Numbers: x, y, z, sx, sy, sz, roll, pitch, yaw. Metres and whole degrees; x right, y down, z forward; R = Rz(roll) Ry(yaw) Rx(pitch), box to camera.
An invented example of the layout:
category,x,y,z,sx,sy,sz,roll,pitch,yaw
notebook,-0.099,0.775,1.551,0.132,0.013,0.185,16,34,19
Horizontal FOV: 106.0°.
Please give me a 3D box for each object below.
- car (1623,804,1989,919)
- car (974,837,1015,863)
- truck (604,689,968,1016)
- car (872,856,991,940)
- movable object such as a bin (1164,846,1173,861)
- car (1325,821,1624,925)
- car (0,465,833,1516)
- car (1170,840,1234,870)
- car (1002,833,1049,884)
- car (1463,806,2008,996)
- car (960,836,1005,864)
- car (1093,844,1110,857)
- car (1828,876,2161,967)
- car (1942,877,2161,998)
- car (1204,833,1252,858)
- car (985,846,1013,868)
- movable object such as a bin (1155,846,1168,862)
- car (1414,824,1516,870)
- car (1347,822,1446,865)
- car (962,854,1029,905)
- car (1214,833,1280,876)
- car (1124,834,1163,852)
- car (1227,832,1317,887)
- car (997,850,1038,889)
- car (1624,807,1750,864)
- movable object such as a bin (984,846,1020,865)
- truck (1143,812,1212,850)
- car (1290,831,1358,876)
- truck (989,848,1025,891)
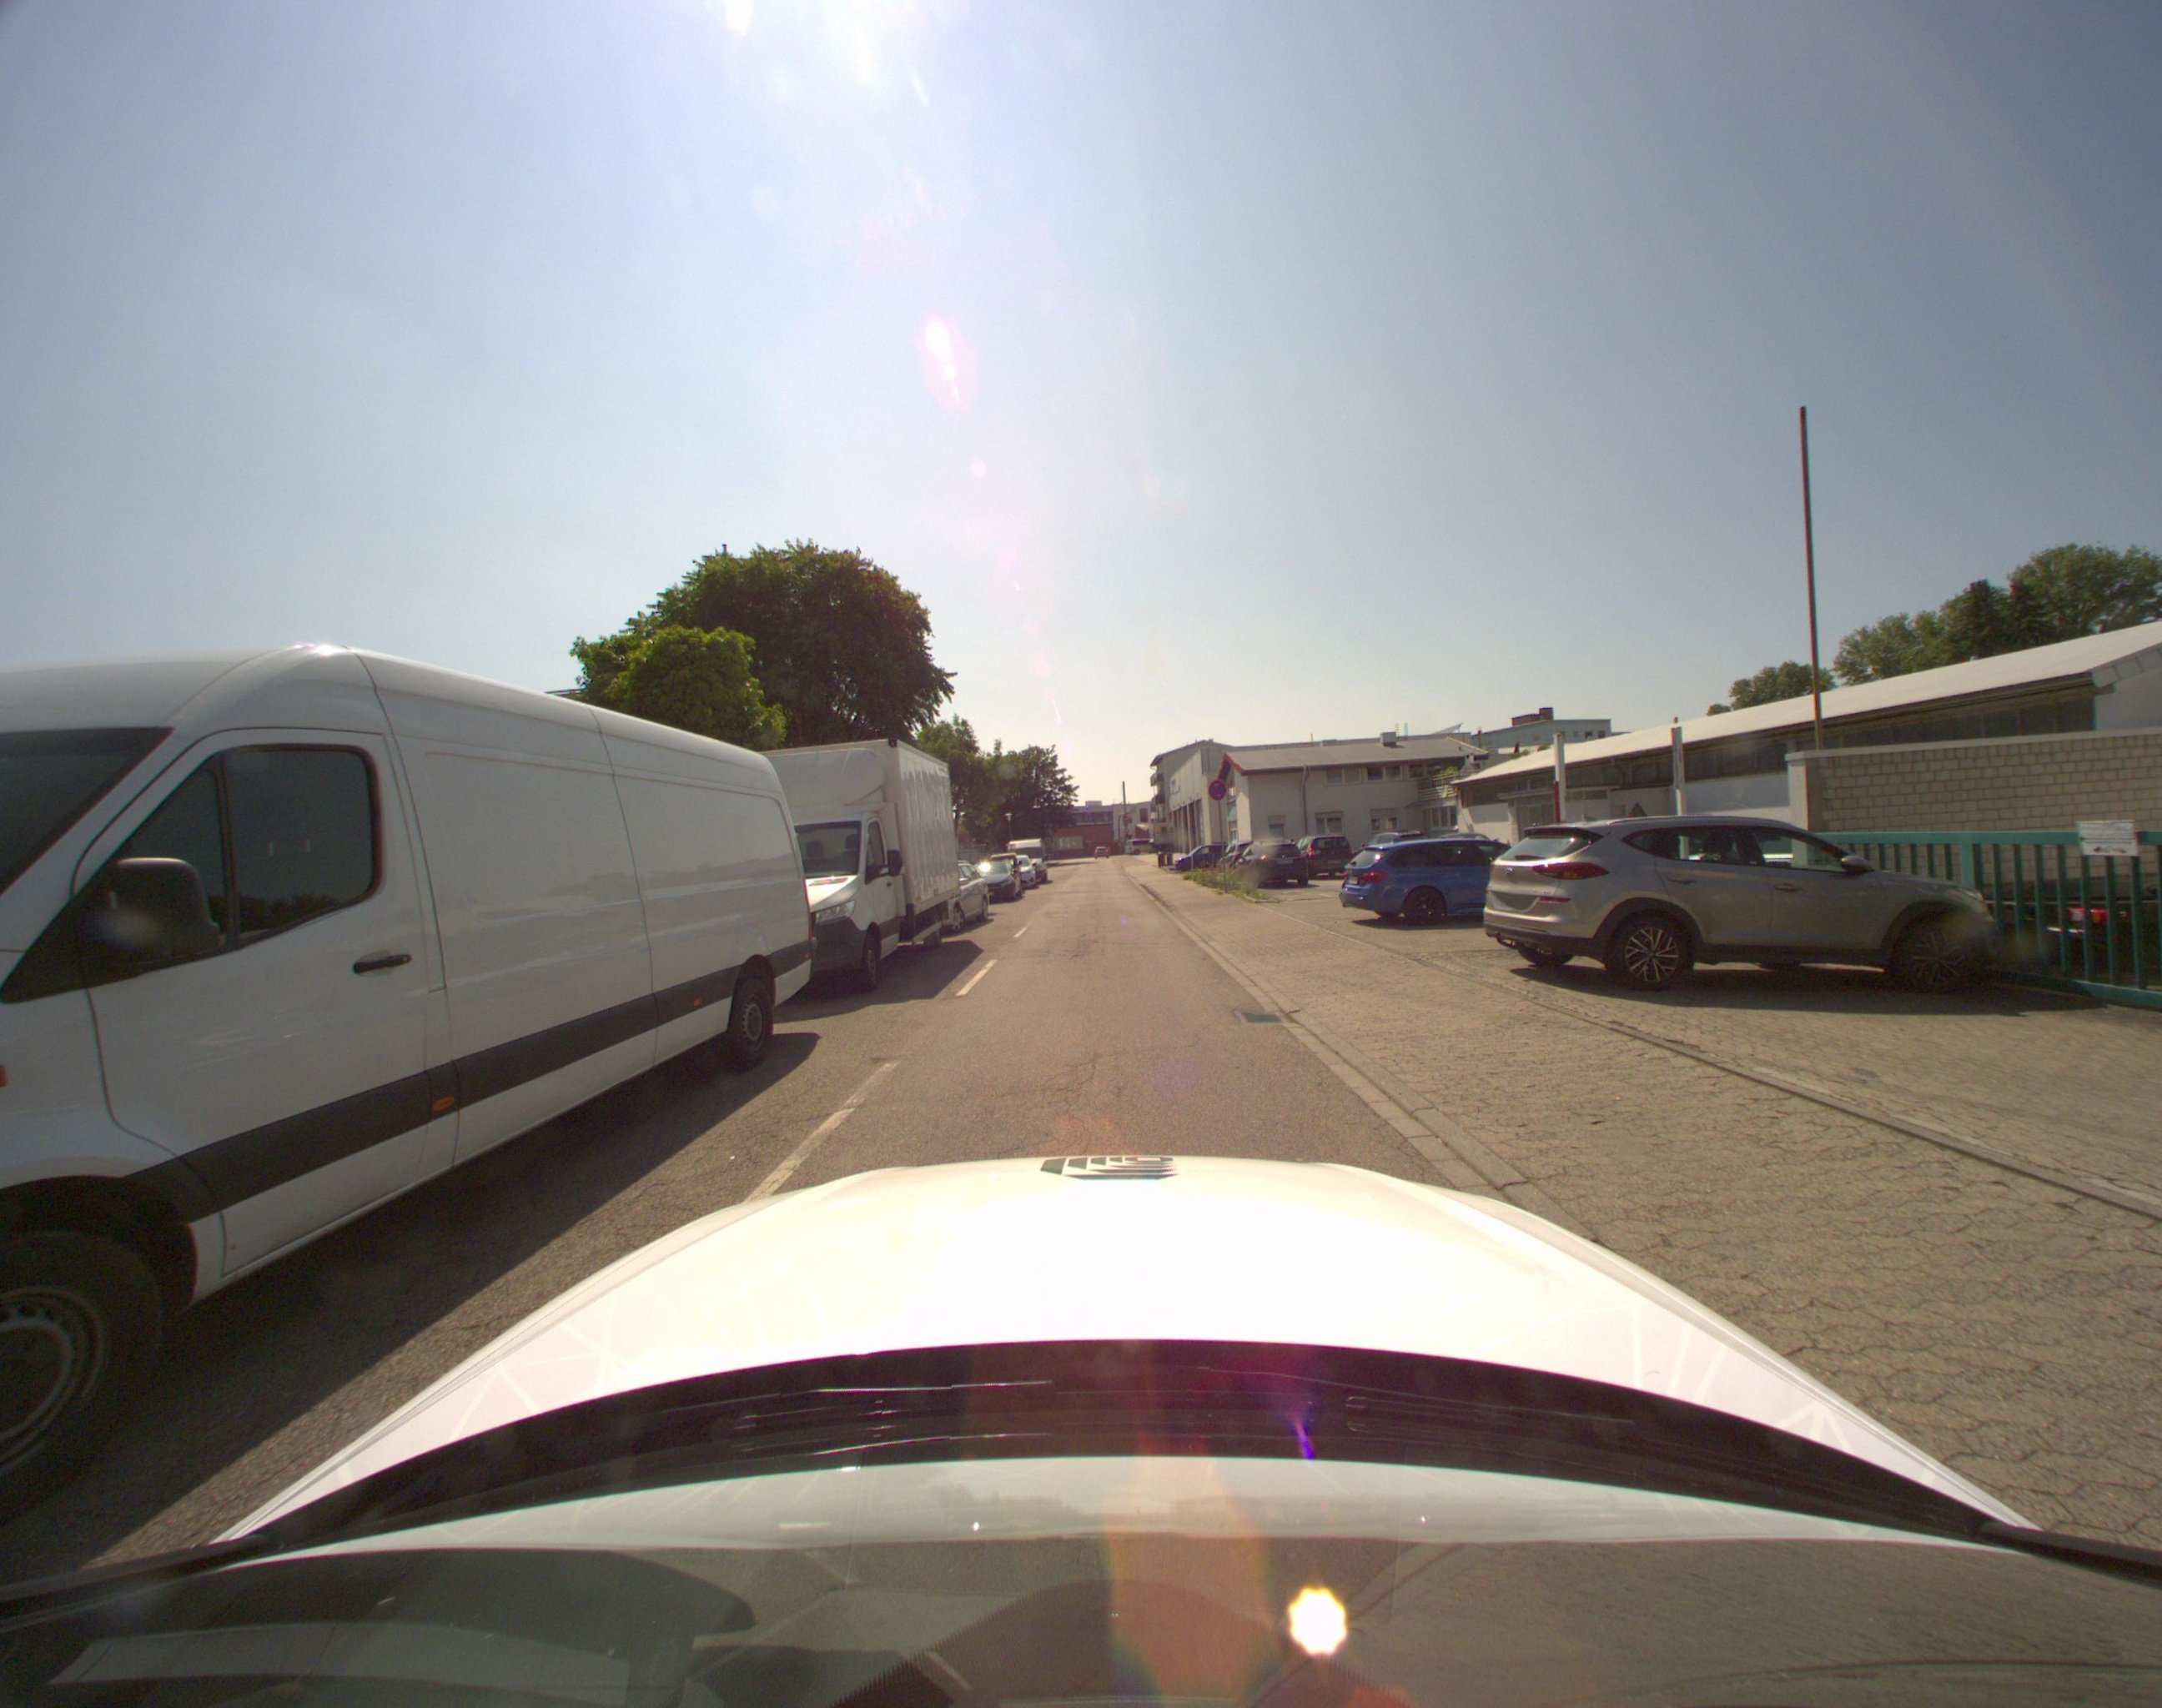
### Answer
category,x,y,z,sx,sy,sz,roll,pitch,yaw
car,11.344,0.085,13.289,1.881,1.441,4.452,-4,0,-2
car,-9.121,-0.410,86.201,4.073,2.513,1.776,-3,1,-1
truck,-3.700,-0.015,12.403,2.676,3.366,7.130,-4,0,0
car,-3.222,0.881,18.404,1.735,1.521,4.311,-4,1,1
movable object such as a bin,5.712,-0.013,53.067,0.510,0.946,0.489,-4,1,12
car,6.788,0.304,14.407,4.338,1.441,1.892,-4,0,0
car,-3.699,0.381,4.523,2.160,2.595,6.922,-5,0,1
car,6.650,0.045,44.995,3.241,1.398,1.674,-4,1,1
car,-2.880,0.251,43.408,1.999,2.366,5.227,-5,-1,-1
car,6.423,0.429,8.351,4.187,1.682,1.767,1,0,0
car,-9.808,-0.375,81.383,4.073,2.513,1.776,-3,1,-1
car,2.661,-0.488,105.348,1.886,1.685,3.954,0,0,-2
car,10.680,0.746,9.423,2.886,0.914,1.288,0,1,1
car,10.405,0.757,7.832,2.886,1.003,1.288,0,1,1
car,11.000,-0.641,60.741,1.756,1.539,3.726,-3,1,43
car,-6.586,0.229,65.595,1.809,1.530,3.675,-4,1,0
movable object such as a bin,5.209,-0.004,52.662,0.562,0.946,0.561,-4,1,34
car,12.691,-0.232,27.180,1.634,1.324,4.105,-3,1,4
car,12.601,-0.397,32.787,1.760,1.495,4.136,-5,1,-10
car,-2.932,0.833,28.729,1.698,1.462,4.116,-5,0,2
car,6.671,-0.011,33.157,1.805,1.558,4.293,-4,1,1
car,8.023,-1.403,104.561,4.667,1.957,1.905,-4,1,-18
car,6.357,0.138,27.702,1.852,1.567,4.952,-4,1,1
car,-2.926,0.674,38.237,1.701,1.624,3.969,-5,0,-3
car,16.432,-0.515,22.311,1.694,1.324,4.210,-3,1,22
movable object such as a bin,-7.142,0.113,74.201,2.613,1.510,2.734,-4,1,7
truck,11.325,-2.759,96.189,7.348,3.644,2.763,-6,1,-5
car,9.039,-0.056,30.526,1.751,1.595,3.624,0,1,4
truck,-3.098,0.607,34.628,1.135,1.622,3.140,-5,1,-1
